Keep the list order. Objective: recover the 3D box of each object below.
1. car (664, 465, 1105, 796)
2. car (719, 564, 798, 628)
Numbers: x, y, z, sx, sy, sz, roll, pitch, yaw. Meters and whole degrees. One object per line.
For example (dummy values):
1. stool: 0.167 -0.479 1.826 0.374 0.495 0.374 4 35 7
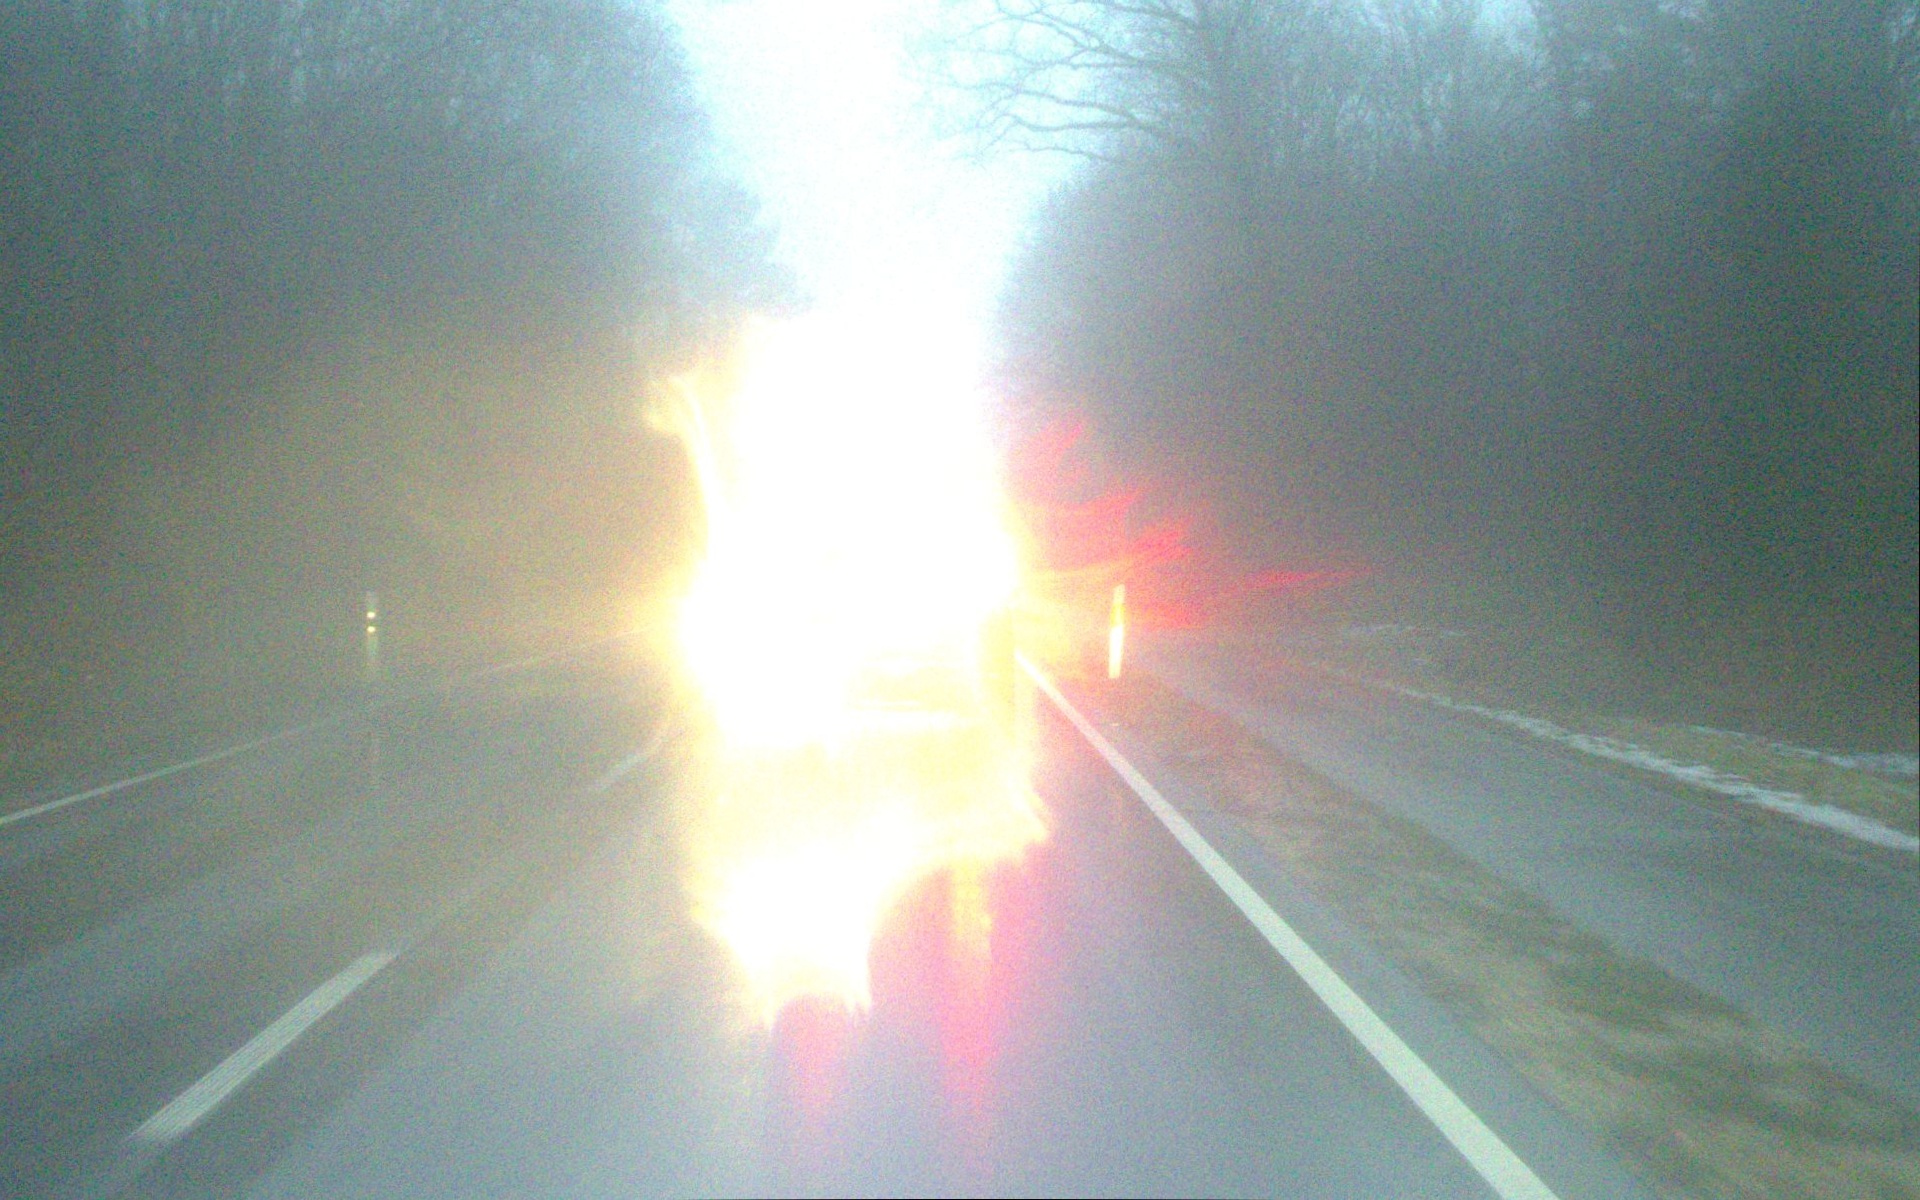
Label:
1. car: -0.538 0.191 28.318 3.183 2.378 6.636 1 1 0
2. car: -4.827 -0.119 82.656 1.691 1.415 4.000 -1 1 -1
